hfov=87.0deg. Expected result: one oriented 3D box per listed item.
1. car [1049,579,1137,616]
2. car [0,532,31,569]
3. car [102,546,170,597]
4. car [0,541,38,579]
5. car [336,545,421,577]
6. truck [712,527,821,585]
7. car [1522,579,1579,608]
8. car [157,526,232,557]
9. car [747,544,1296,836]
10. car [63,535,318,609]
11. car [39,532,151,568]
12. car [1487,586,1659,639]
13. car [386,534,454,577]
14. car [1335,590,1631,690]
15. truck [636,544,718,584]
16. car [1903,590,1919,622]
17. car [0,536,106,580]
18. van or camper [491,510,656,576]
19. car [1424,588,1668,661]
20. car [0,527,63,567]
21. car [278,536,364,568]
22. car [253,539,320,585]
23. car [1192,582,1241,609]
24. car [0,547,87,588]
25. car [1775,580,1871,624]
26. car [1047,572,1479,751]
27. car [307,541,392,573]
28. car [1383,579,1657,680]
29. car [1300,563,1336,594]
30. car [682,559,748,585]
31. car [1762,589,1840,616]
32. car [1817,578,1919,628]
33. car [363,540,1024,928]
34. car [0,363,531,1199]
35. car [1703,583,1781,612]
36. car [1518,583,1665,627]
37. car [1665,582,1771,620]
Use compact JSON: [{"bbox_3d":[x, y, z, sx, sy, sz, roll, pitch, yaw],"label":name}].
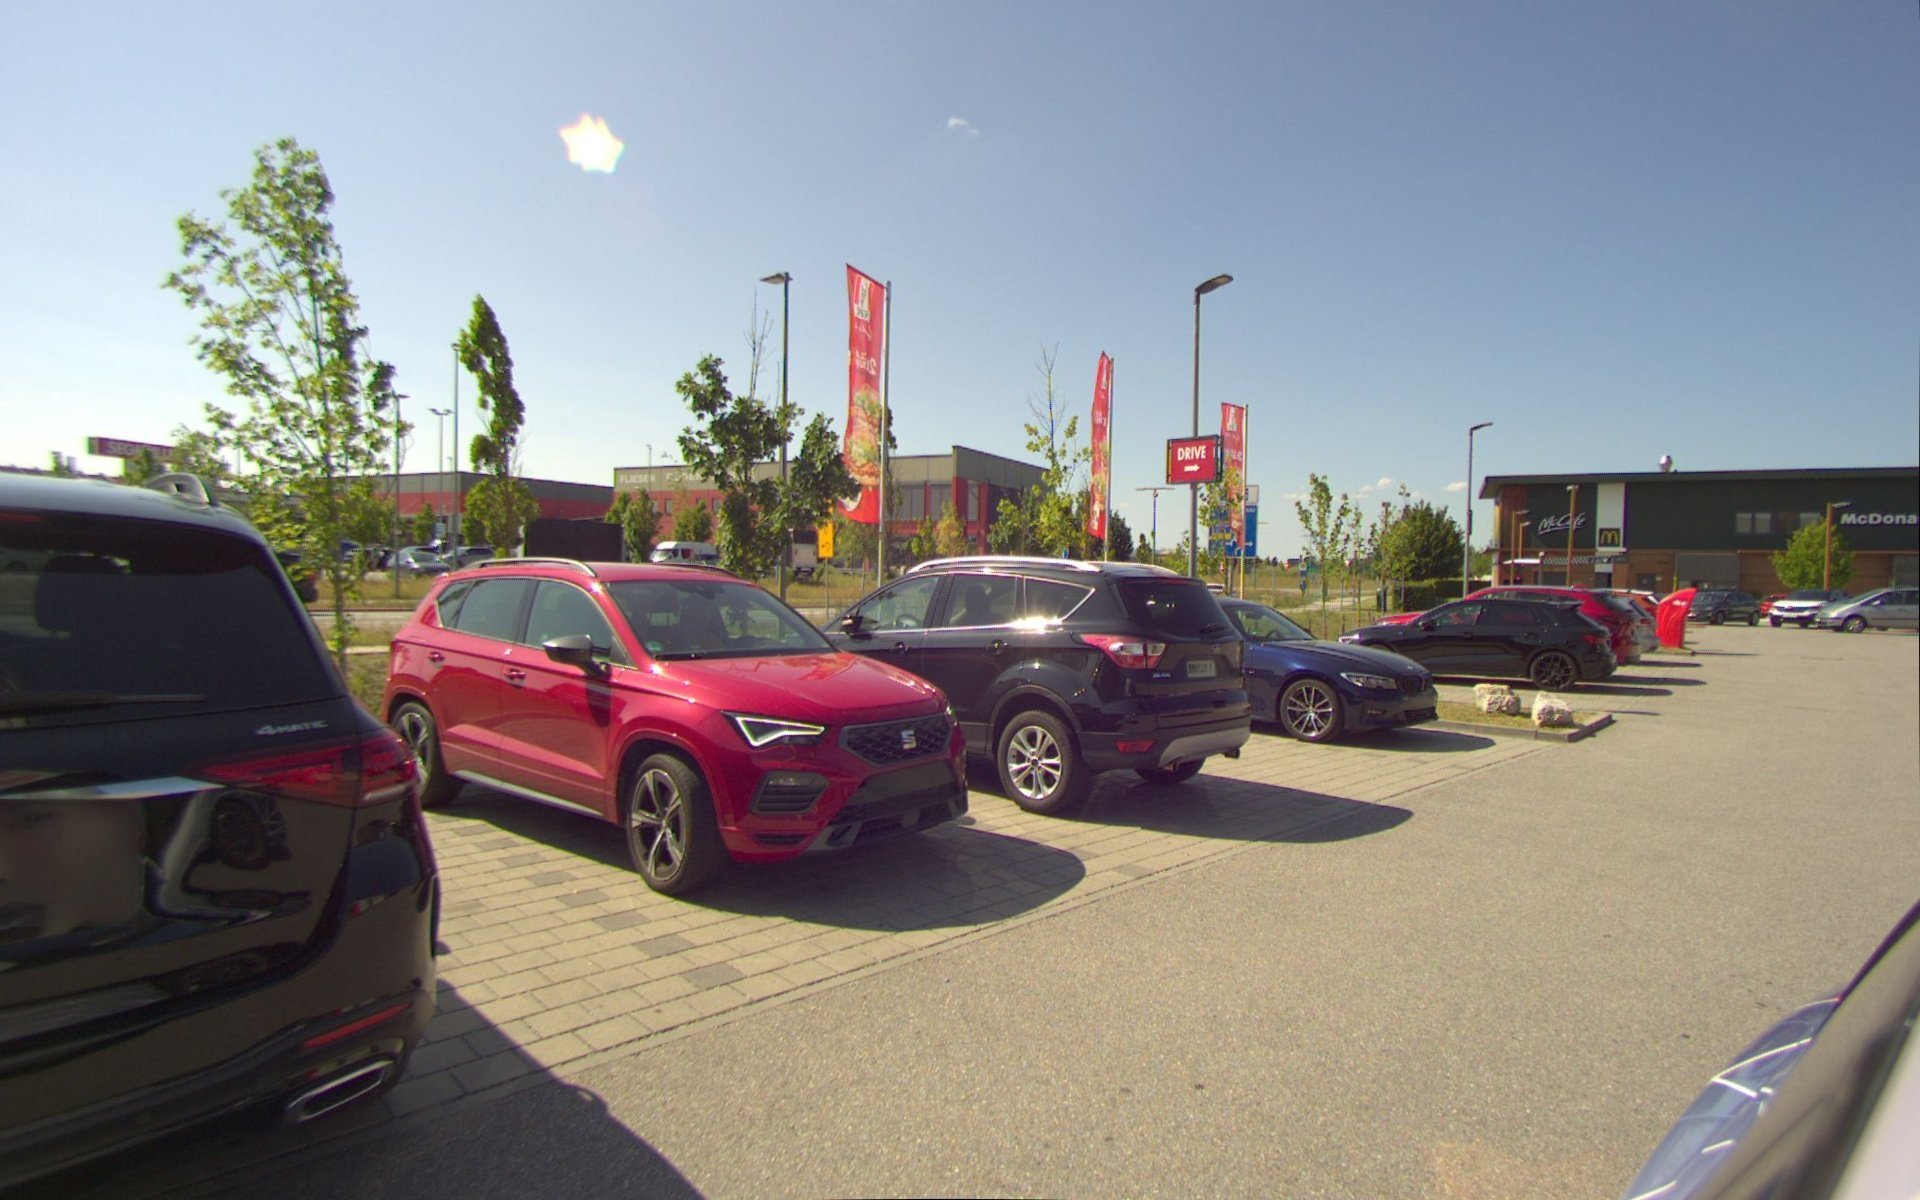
[{"bbox_3d":[6.062,-0.128,45.782,1.989,1.546,4.595,2,1,36],"label":"car"},{"bbox_3d":[-51.629,-2.628,52.730,1.936,1.878,4.365,2,1,26],"label":"car"},{"bbox_3d":[-32.408,-1.114,39.797,1.965,1.878,4.281,1,1,-40],"label":"car"},{"bbox_3d":[-49.669,-2.045,51.006,1.936,1.878,4.365,2,1,26],"label":"car"},{"bbox_3d":[-36.560,-2.452,63.752,1.936,1.878,4.365,2,1,26],"label":"car"},{"bbox_3d":[-12.434,-2.838,64.791,6.780,3.524,2.737,2,1,32],"label":"truck"},{"bbox_3d":[37.162,-0.416,63.660,4.166,1.712,1.993,0,2,-44],"label":"car"},{"bbox_3d":[-55.774,-4.224,73.794,1.982,2.039,3.960,2,1,29],"label":"car"},{"bbox_3d":[0.252,0.481,8.172,1.865,1.724,4.321,0,1,-44],"label":"car"},{"bbox_3d":[-18.888,-0.662,25.021,1.992,1.645,4.733,2,1,42],"label":"car"},{"bbox_3d":[-48.545,-2.784,56.887,1.936,1.878,4.365,2,1,26],"label":"car"},{"bbox_3d":[18.479,0.318,30.640,4.322,1.487,1.812,1,1,33],"label":"car"},{"bbox_3d":[-25.208,-2.064,47.202,1.921,1.878,4.400,1,1,-40],"label":"car"},{"bbox_3d":[8.652,0.572,16.890,4.182,1.428,1.750,1,1,37],"label":"car"},{"bbox_3d":[-21.778,-2.747,78.294,1.936,2.849,6.995,2,1,26],"label":"truck"},{"bbox_3d":[45.937,0.327,46.047,1.675,1.511,4.124,0,1,-18],"label":"car"},{"bbox_3d":[-42.688,-1.924,46.871,1.936,1.878,4.365,2,1,26],"label":"car"},{"bbox_3d":[-20.472,-2.935,53.830,7.894,3.140,2.422,1,1,-31],"label":"van or camper"},{"bbox_3d":[12.981,0.475,22.560,4.573,1.430,1.718,1,1,36],"label":"car"},{"bbox_3d":[-47.168,-2.603,49.632,1.936,1.878,4.365,2,1,26],"label":"car"},{"bbox_3d":[-41.550,-3.093,65.912,1.936,1.878,4.365,2,1,26],"label":"car"},{"bbox_3d":[-29.031,-1.628,43.547,1.921,1.878,4.400,1,1,-40],"label":"car"},{"bbox_3d":[16.156,-0.289,63.581,1.982,1.546,4.611,2,1,28],"label":"car"},{"bbox_3d":[-45.032,-1.550,48.584,1.936,1.878,4.365,2,1,26],"label":"car"},{"bbox_3d":[35.721,0.080,41.863,4.126,1.675,1.976,1,1,-34],"label":"car"},{"bbox_3d":[3.281,0.525,11.635,1.864,1.658,4.440,0,1,-44],"label":"car"},{"bbox_3d":[-39.200,-2.724,65.072,1.936,1.878,4.365,2,1,26],"label":"car"},{"bbox_3d":[10.335,0.443,18.829,4.210,1.658,1.923,1,1,39],"label":"car"},{"bbox_3d":[27.683,-1.642,78.123,1.981,2.224,5.059,2,1,27],"label":"car"},{"bbox_3d":[-14.864,-1.707,61.322,3.935,1.478,1.637,2,1,32],"label":"car"},{"bbox_3d":[49.488,0.125,59.535,4.376,1.484,1.966,1,1,-27],"label":"car"},{"bbox_3d":[34.745,0.117,37.165,4.636,1.770,1.817,2,1,26],"label":"car"},{"bbox_3d":[-1.806,0.527,6.243,4.059,1.629,1.870,1,0,38],"label":"car"},{"bbox_3d":[-3.218,0.476,3.133,4.576,1.782,1.866,1,1,44],"label":"car"},{"bbox_3d":[47.808,-0.146,61.873,4.374,1.622,1.966,1,1,-24],"label":"car"},{"bbox_3d":[22.890,0.140,36.834,4.449,1.487,1.812,1,1,33],"label":"car"},{"bbox_3d":[32.444,0.045,43.306,4.121,1.545,1.979,1,1,-27],"label":"car"}]
